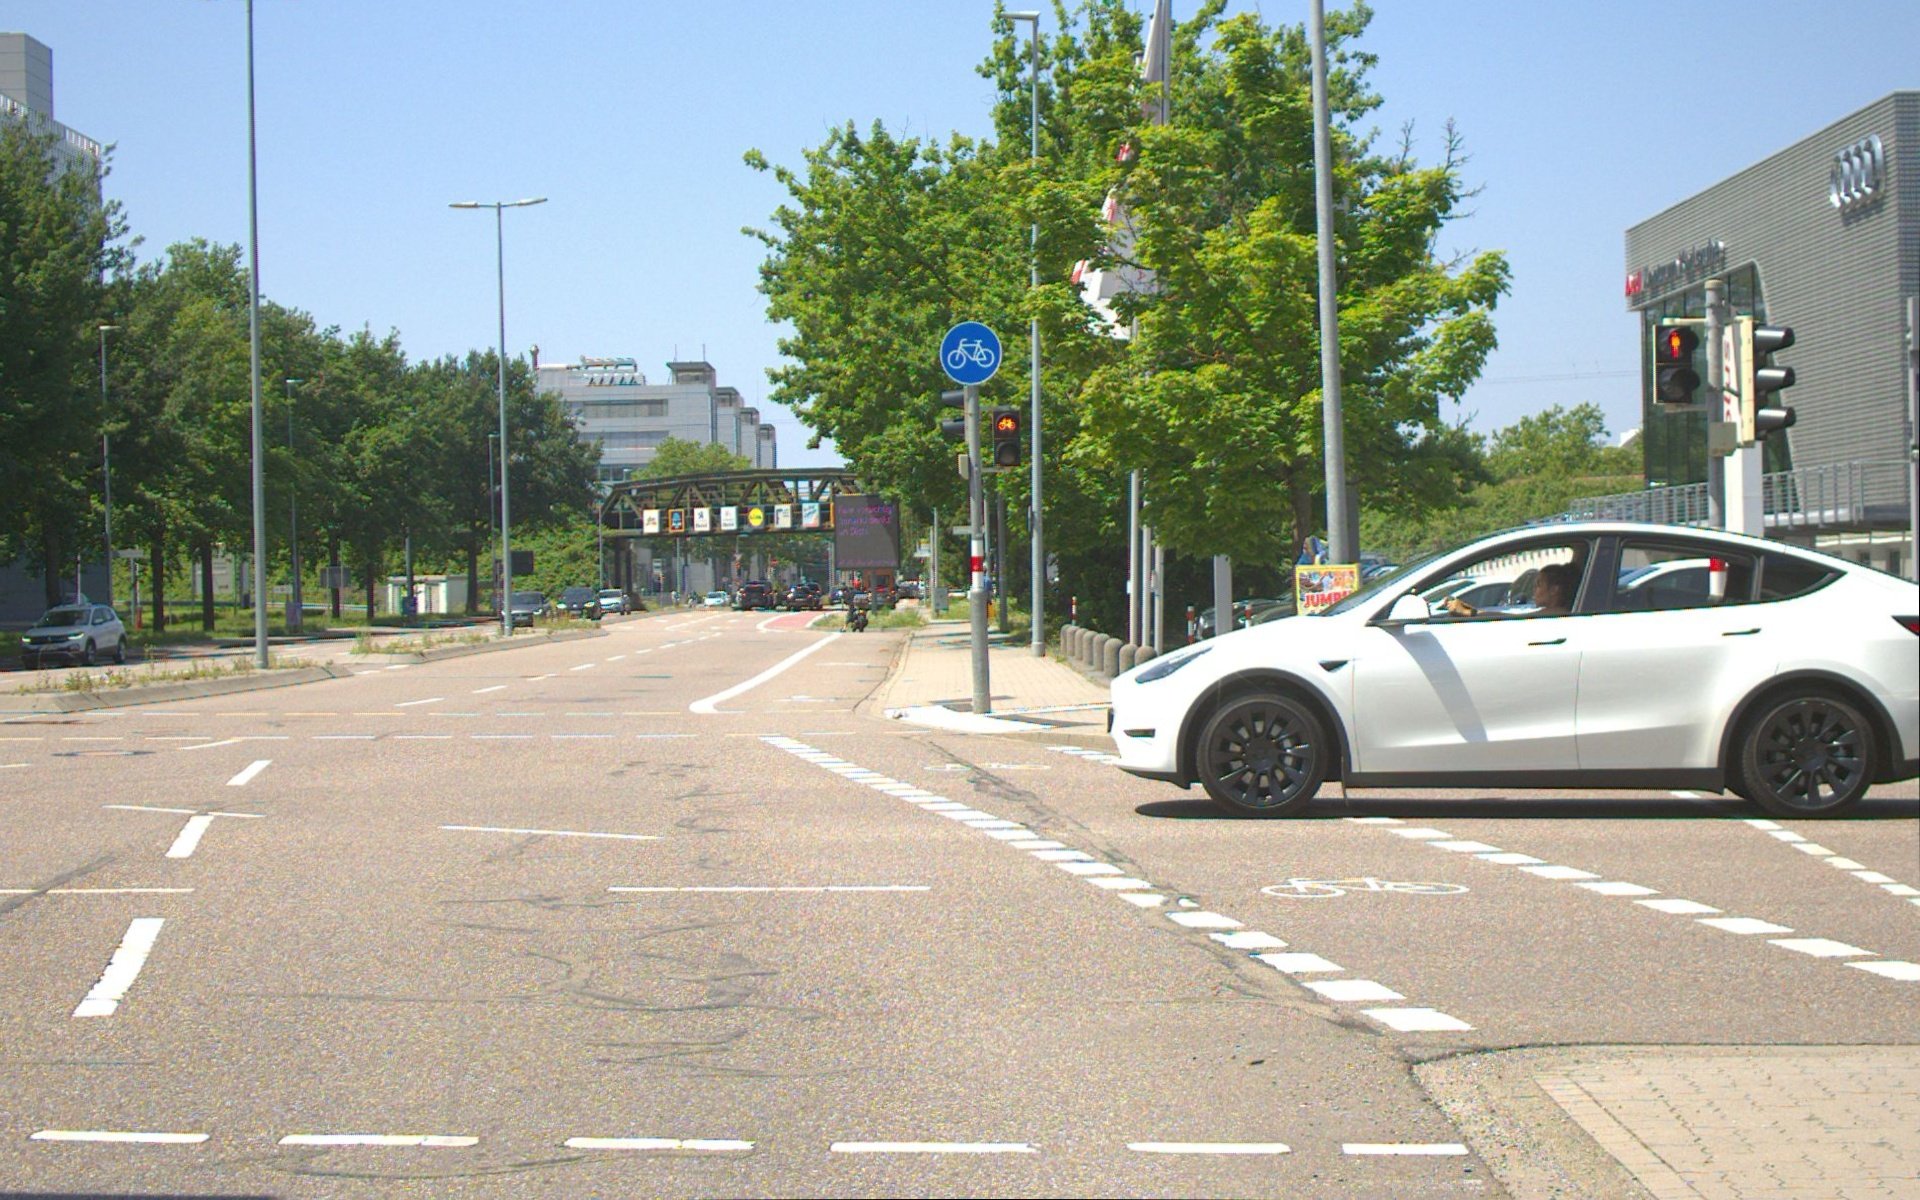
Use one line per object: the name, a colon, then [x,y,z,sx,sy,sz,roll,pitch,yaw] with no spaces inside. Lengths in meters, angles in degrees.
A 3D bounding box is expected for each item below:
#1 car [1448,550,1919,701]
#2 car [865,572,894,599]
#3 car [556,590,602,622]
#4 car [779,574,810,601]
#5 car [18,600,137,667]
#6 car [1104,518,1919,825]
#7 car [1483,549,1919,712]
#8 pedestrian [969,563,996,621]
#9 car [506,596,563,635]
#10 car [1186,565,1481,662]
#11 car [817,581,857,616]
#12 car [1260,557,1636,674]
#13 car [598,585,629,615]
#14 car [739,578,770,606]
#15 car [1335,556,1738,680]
car: [7.610,0.266,35.923,4.741,1.452,2.000,-1,0,2]
car: [-5.142,-0.922,220.825,1.772,1.722,4.000,-1,0,-1]
car: [-17.275,0.269,156.037,1.684,1.406,3.665,-1,0,-1]
car: [-10.608,-0.800,220.222,1.772,1.722,4.000,-1,0,-1]
car: [-23.144,0.863,90.294,1.927,1.659,4.088,-1,0,2]
car: [3.194,0.379,19.013,4.680,1.583,2.000,-1,0,5]
car: [7.568,0.270,33.212,4.741,1.452,2.000,-1,1,2]
pedestrian: [0.598,-0.210,90.670,0.668,1.505,0.736,-1,0,-1]
car: [-16.473,0.580,133.217,1.732,1.422,3.706,-3,0,-1]
car: [6.358,0.211,58.858,4.741,1.452,2.000,-2,1,-2]
car: [-3.771,-0.061,105.415,1.137,1.038,2.308,-1,1,-1]
car: [6.556,0.192,46.548,4.741,1.452,2.000,-1,1,-2]
car: [-19.455,-0.009,193.196,1.648,1.647,4.164,-1,1,-5]
car: [-13.393,-0.527,224.465,1.772,1.722,4.000,-1,0,-1]
car: [7.297,0.212,43.824,4.741,1.452,2.000,-1,1,-2]
